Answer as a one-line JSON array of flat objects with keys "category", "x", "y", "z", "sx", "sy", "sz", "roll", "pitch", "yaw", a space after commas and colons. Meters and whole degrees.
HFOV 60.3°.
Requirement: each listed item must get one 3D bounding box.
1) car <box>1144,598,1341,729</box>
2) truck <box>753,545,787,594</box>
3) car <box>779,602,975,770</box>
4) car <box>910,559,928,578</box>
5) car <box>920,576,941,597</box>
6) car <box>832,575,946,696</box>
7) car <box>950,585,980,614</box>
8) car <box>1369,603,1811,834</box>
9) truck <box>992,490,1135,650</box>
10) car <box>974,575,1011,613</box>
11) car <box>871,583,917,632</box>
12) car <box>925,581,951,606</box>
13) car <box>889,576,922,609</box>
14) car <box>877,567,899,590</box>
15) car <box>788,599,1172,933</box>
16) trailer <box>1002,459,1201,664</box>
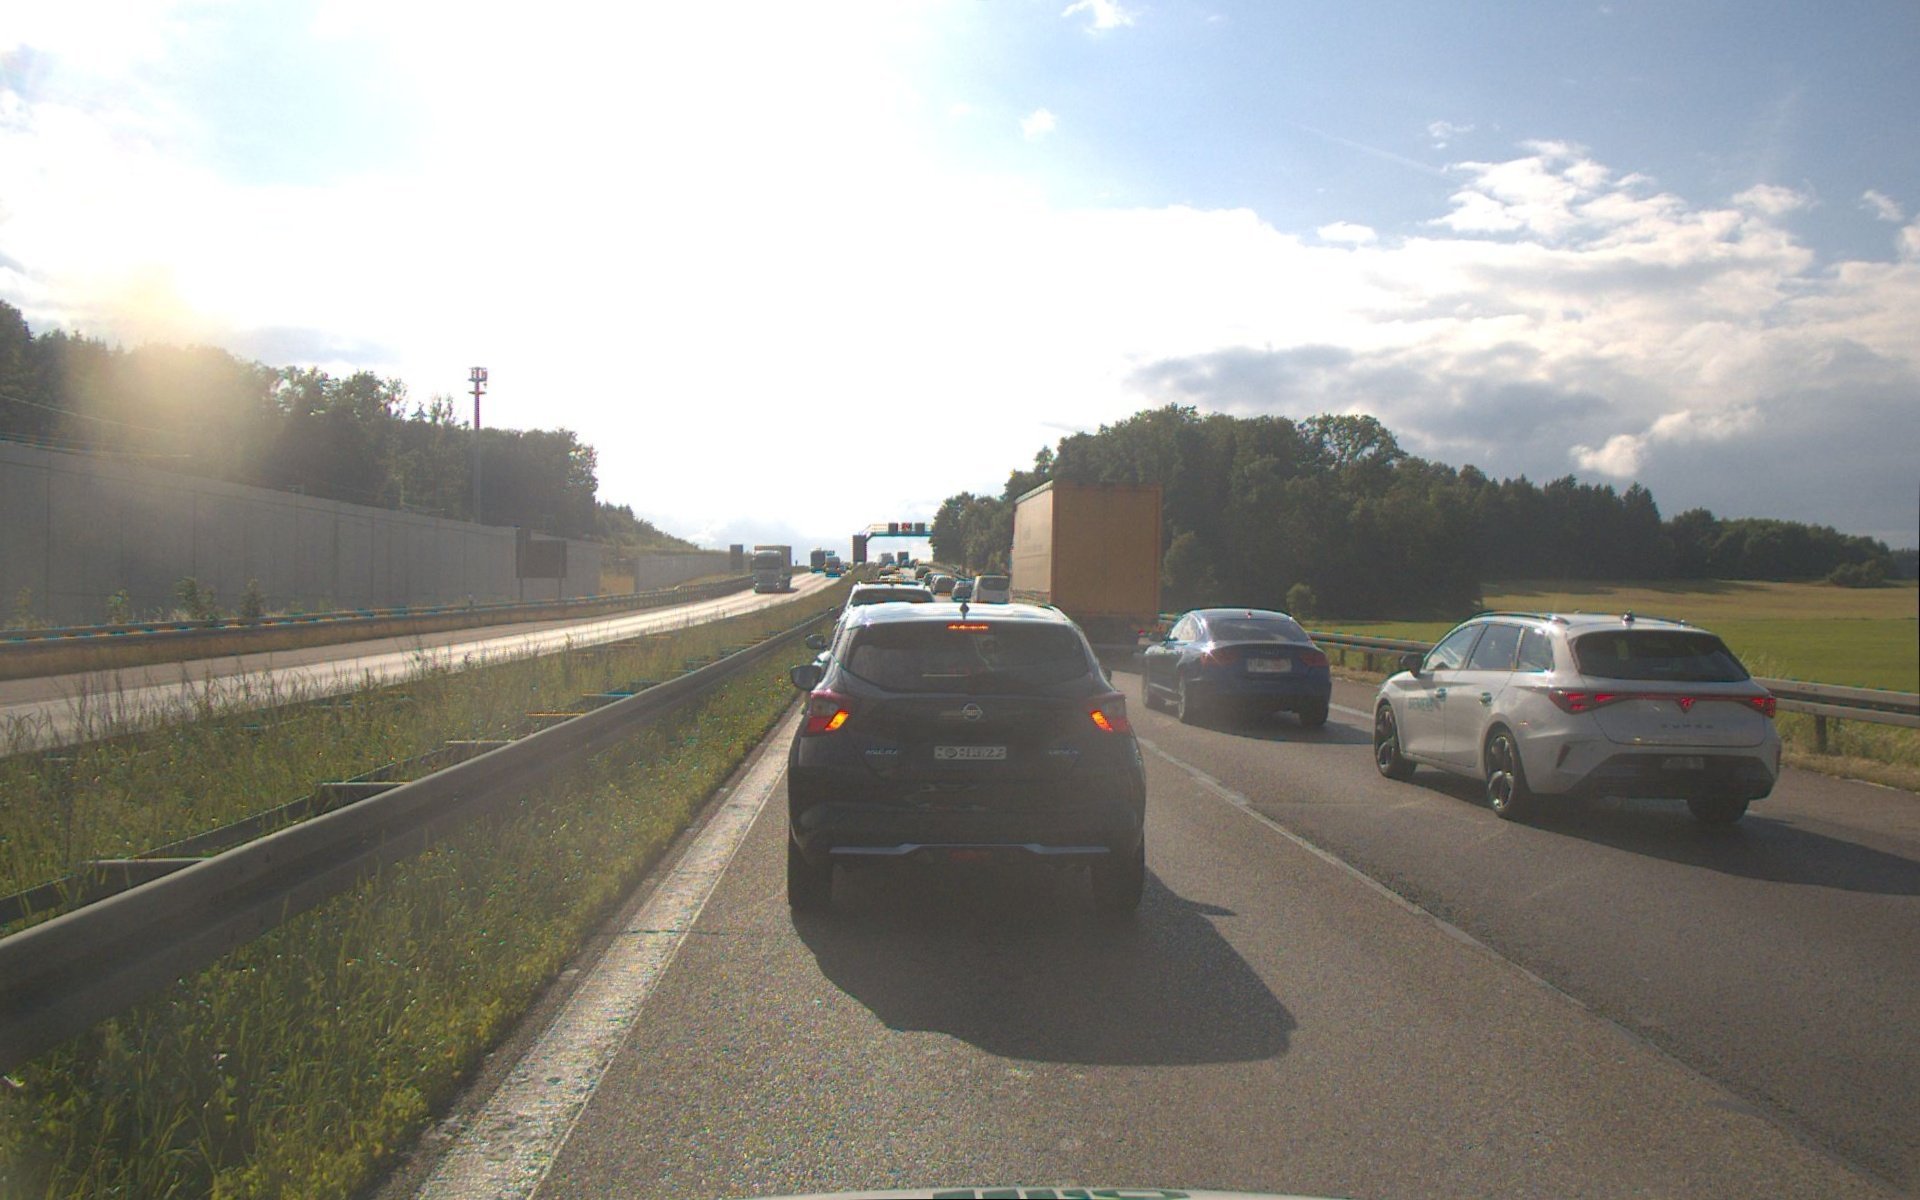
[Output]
[{"category": "car", "x": 3.509, "y": 0.747, "z": 21.245, "sx": 1.712, "sy": 1.501, "sz": 4.145, "roll": 1, "pitch": 0, "yaw": -1}, {"category": "truck", "x": -17.121, "y": -2.691, "z": 149.400, "sx": 2.585, "sy": 4.169, "sz": 6.998, "roll": 1, "pitch": 0, "yaw": -3}, {"category": "car", "x": -0.743, "y": 0.738, "z": 15.769, "sx": 1.640, "sy": 1.391, "sz": 3.595, "roll": 1, "pitch": 0, "yaw": -2}, {"category": "car", "x": -4.863, "y": -3.711, "z": 196.307, "sx": 1.954, "sy": 2.049, "sz": 3.997, "roll": 1, "pitch": 0, "yaw": -3}, {"category": "car", "x": -2.963, "y": -1.320, "z": 164.650, "sx": 1.954, "sy": 2.049, "sz": 3.997, "roll": 1, "pitch": 0, "yaw": -3}, {"category": "car", "x": -1.075, "y": 0.530, "z": 25.972, "sx": 1.640, "sy": 1.756, "sz": 3.595, "roll": 1, "pitch": 0, "yaw": -2}, {"category": "car", "x": 0.341, "y": -0.016, "z": 122.516, "sx": 1.954, "sy": 2.049, "sz": 3.997, "roll": 1, "pitch": 0, "yaw": -3}, {"category": "car", "x": 4.572, "y": 0.776, "z": 12.713, "sx": 1.588, "sy": 1.471, "sz": 4.143, "roll": 1, "pitch": 0, "yaw": -4}, {"category": "truck", "x": 2.988, "y": -0.834, "z": 50.002, "sx": 3.511, "sy": 4.456, "sz": 6.684, "roll": 1, "pitch": 0, "yaw": -3}, {"category": "car", "x": 1.579, "y": -0.273, "z": 81.041, "sx": 1.633, "sy": 1.785, "sz": 3.326, "roll": 1, "pitch": 0, "yaw": -1}, {"category": "car", "x": -2.962, "y": 0.336, "z": 73.298, "sx": 1.954, "sy": 2.049, "sz": 3.997, "roll": 1, "pitch": 0, "yaw": -3}, {"category": "car", "x": -1.888, "y": -0.560, "z": 140.291, "sx": 1.954, "sy": 2.049, "sz": 3.997, "roll": 1, "pitch": 0, "yaw": -3}, {"category": "car", "x": -3.545, "y": -0.478, "z": 106.989, "sx": 1.954, "sy": 2.049, "sz": 3.997, "roll": 1, "pitch": 0, "yaw": -3}, {"category": "car", "x": -6.594, "y": -1.941, "z": 152.025, "sx": 1.954, "sy": 2.049, "sz": 3.997, "roll": 1, "pitch": 0, "yaw": -3}, {"category": "car", "x": 0.067, "y": 0.742, "z": 8.984, "sx": 1.675, "sy": 1.451, "sz": 3.377, "roll": 1, "pitch": 0, "yaw": -1}, {"category": "trailer", "x": 3.338, "y": -0.836, "z": 43.477, "sx": 3.478, "sy": 4.535, "sz": 12.714, "roll": 1, "pitch": 0, "yaw": -3}]
